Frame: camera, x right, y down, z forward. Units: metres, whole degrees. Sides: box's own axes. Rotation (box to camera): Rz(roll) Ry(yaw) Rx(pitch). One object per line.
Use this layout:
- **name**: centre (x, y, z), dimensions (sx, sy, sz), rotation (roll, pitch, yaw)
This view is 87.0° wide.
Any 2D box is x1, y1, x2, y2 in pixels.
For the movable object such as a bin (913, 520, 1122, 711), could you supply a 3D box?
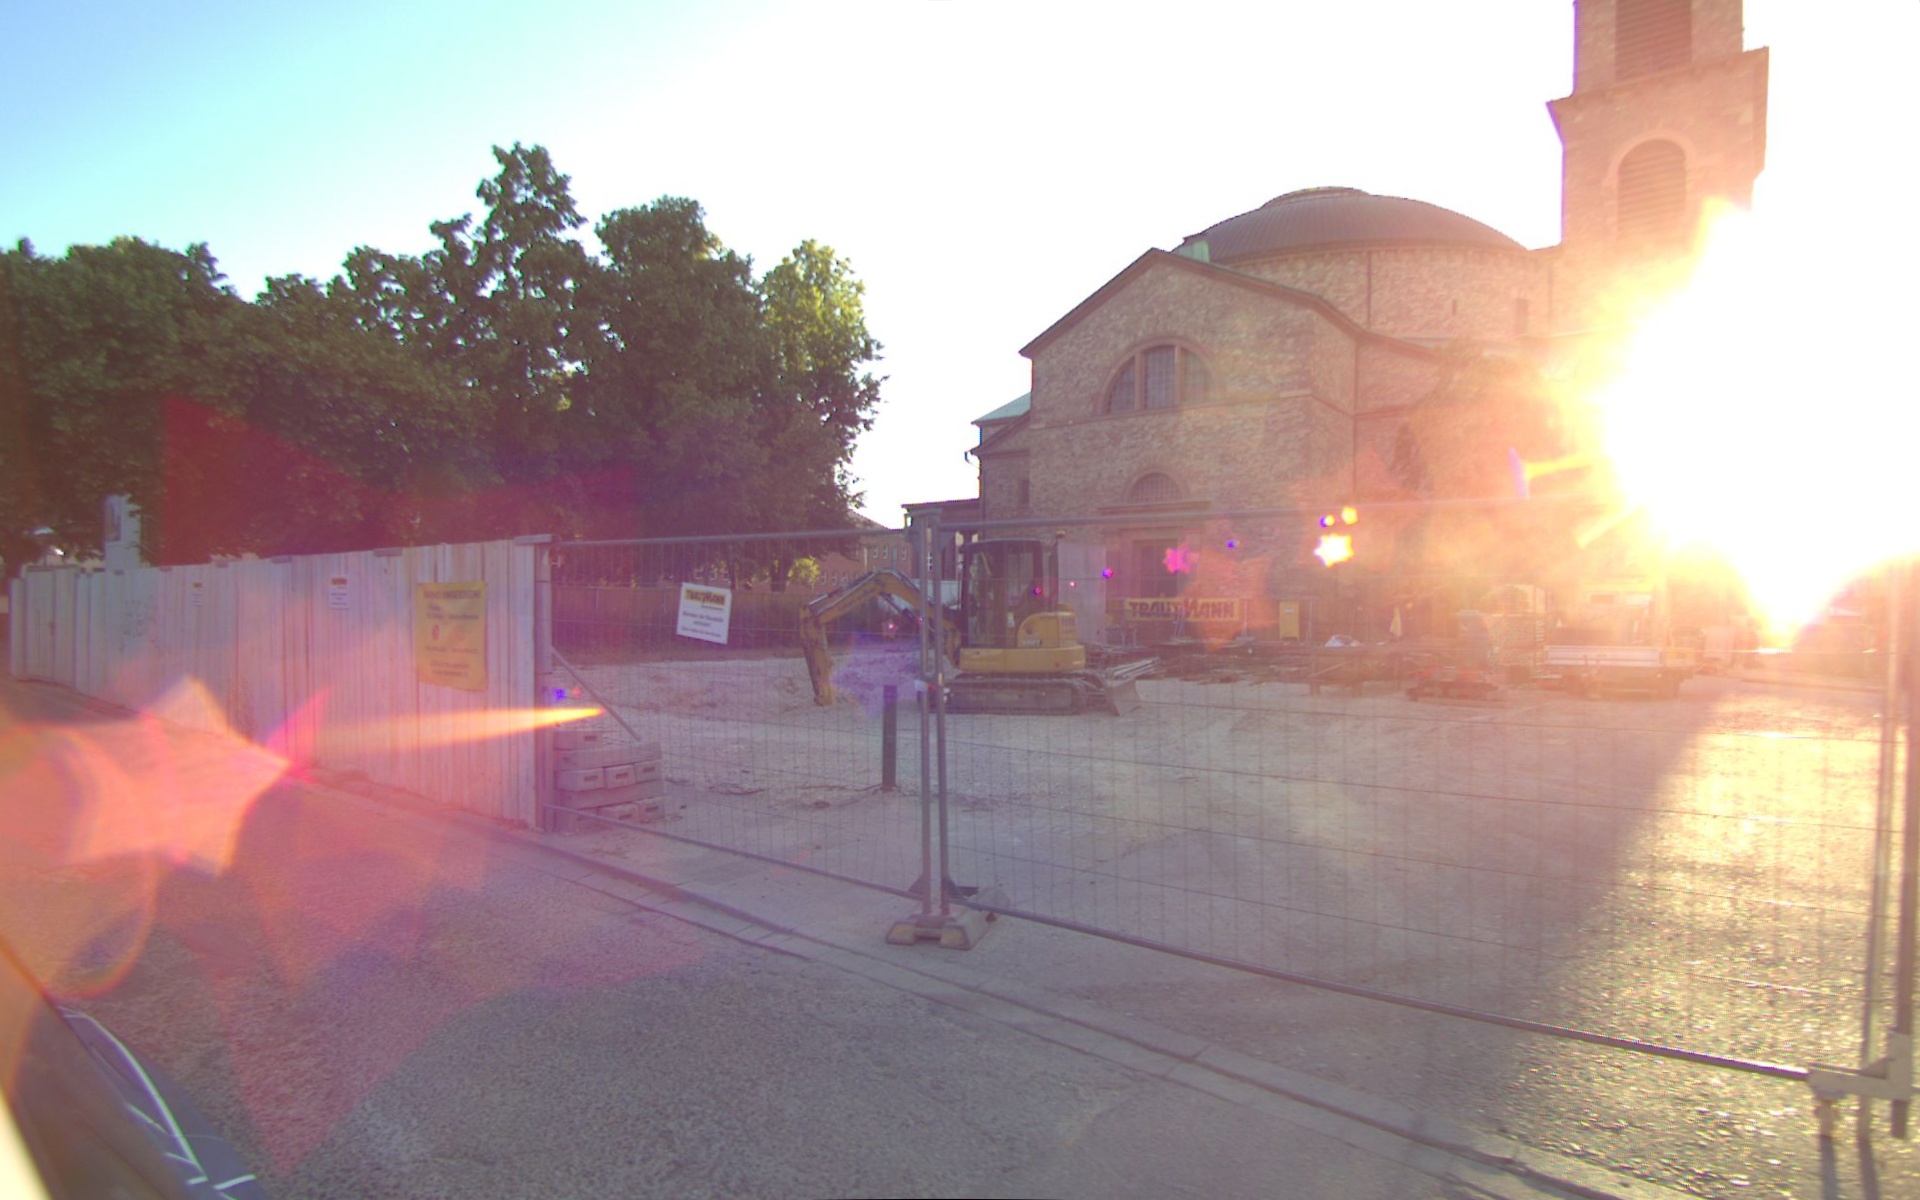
- **movable object such as a bin**: centre (0.935, 0.219, 15.345), dimensions (2.725, 2.623, 2.147), rotation (0, -1, 18)

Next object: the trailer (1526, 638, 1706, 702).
- **trailer**: centre (12.401, 1.241, 19.020), dimensions (4.304, 0.998, 2.001), rotation (2, -2, -45)
